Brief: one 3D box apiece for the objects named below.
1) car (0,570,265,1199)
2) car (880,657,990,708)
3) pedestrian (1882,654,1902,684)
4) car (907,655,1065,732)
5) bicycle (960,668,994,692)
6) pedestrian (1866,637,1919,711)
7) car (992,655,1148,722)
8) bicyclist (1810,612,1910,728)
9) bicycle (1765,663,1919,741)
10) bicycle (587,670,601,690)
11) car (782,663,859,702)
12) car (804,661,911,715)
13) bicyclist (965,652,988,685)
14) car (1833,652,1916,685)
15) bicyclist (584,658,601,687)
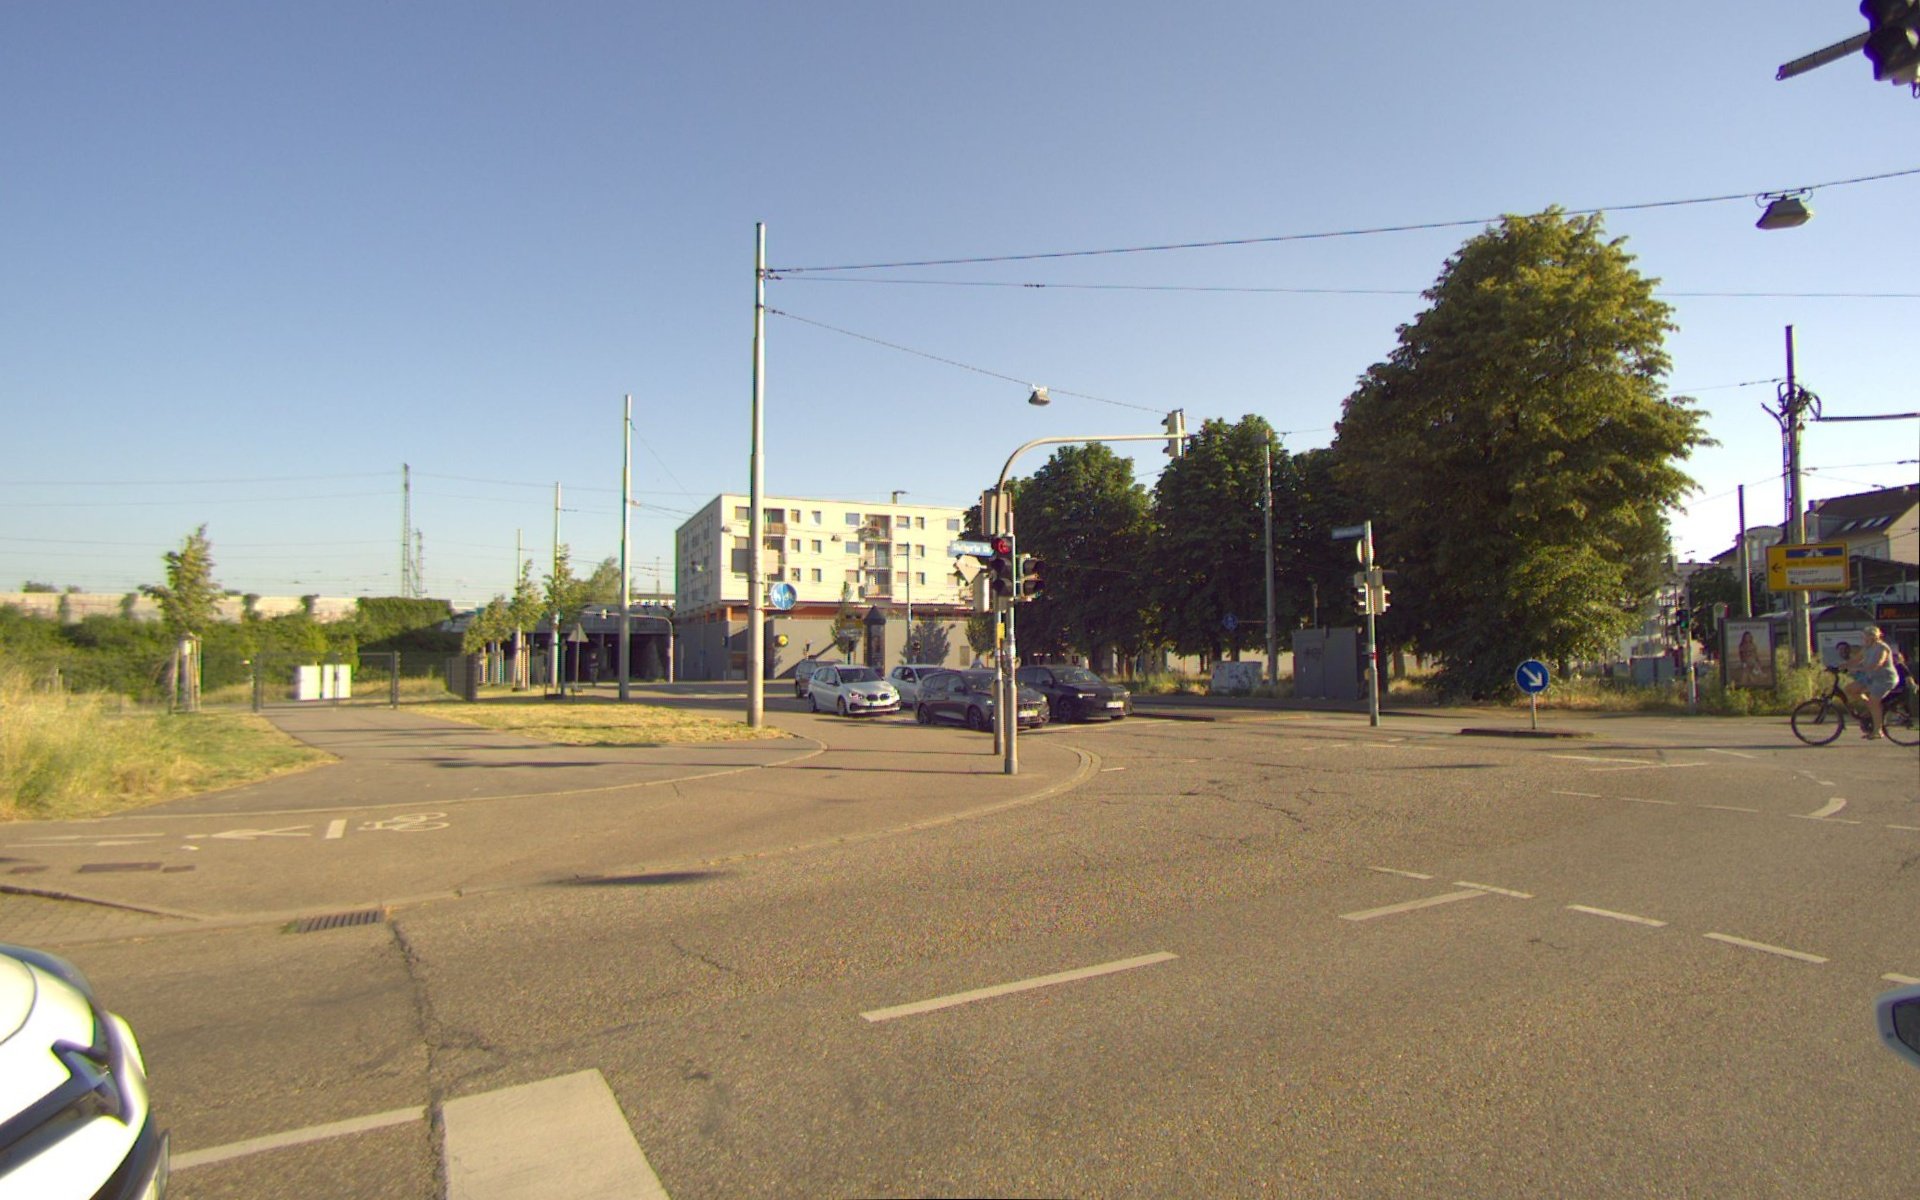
[{"bbox_3d":[-3.056,0.711,1.007,3.733,1.488,1.692,2,-4,-32],"label":"car"},{"bbox_3d":[-0.917,2.721,33.619,1.975,1.587,4.426,1,-4,-27],"label":"car"},{"bbox_3d":[48.010,3.547,51.763,0.558,1.520,0.677,-2,-4,32],"label":"pedestrian"},{"bbox_3d":[0.512,2.192,24.271,1.975,1.587,4.246,-2,-3,-28],"label":"car"},{"bbox_3d":[0.838,3.953,50.026,0.692,1.157,2.185,1,-4,-29],"label":"bicycle"},{"bbox_3d":[23.221,1.828,24.853,1.056,1.769,0.907,2,-4,-33],"label":"pedestrian"},{"bbox_3d":[2.776,2.275,26.407,2.027,1.587,4.423,1,-4,-26],"label":"car"},{"bbox_3d":[13.090,1.015,14.643,0.841,1.626,0.776,-2,-3,26],"label":"bicyclist"},{"bbox_3d":[13.103,1.475,14.654,1.982,1.083,0.663,-2,-4,26],"label":"bicycle"},{"bbox_3d":[-21.158,4.615,58.013,0.743,1.107,1.940,1,-4,-21],"label":"bicycle"},{"bbox_3d":[-6.076,3.521,43.332,1.975,1.587,4.426,1,-4,-27],"label":"car"},{"bbox_3d":[-3.348,2.745,31.948,1.975,1.587,4.246,1,-4,-27],"label":"car"},{"bbox_3d":[0.807,3.398,50.034,0.705,1.650,1.034,1,-3,-30],"label":"bicyclist"},{"bbox_3d":[59.358,4.432,65.343,2.017,1.987,5.153,-4,-4,19],"label":"car"},{"bbox_3d":[-21.217,4.197,58.026,0.865,1.646,0.968,1,-3,-20],"label":"bicyclist"}]
